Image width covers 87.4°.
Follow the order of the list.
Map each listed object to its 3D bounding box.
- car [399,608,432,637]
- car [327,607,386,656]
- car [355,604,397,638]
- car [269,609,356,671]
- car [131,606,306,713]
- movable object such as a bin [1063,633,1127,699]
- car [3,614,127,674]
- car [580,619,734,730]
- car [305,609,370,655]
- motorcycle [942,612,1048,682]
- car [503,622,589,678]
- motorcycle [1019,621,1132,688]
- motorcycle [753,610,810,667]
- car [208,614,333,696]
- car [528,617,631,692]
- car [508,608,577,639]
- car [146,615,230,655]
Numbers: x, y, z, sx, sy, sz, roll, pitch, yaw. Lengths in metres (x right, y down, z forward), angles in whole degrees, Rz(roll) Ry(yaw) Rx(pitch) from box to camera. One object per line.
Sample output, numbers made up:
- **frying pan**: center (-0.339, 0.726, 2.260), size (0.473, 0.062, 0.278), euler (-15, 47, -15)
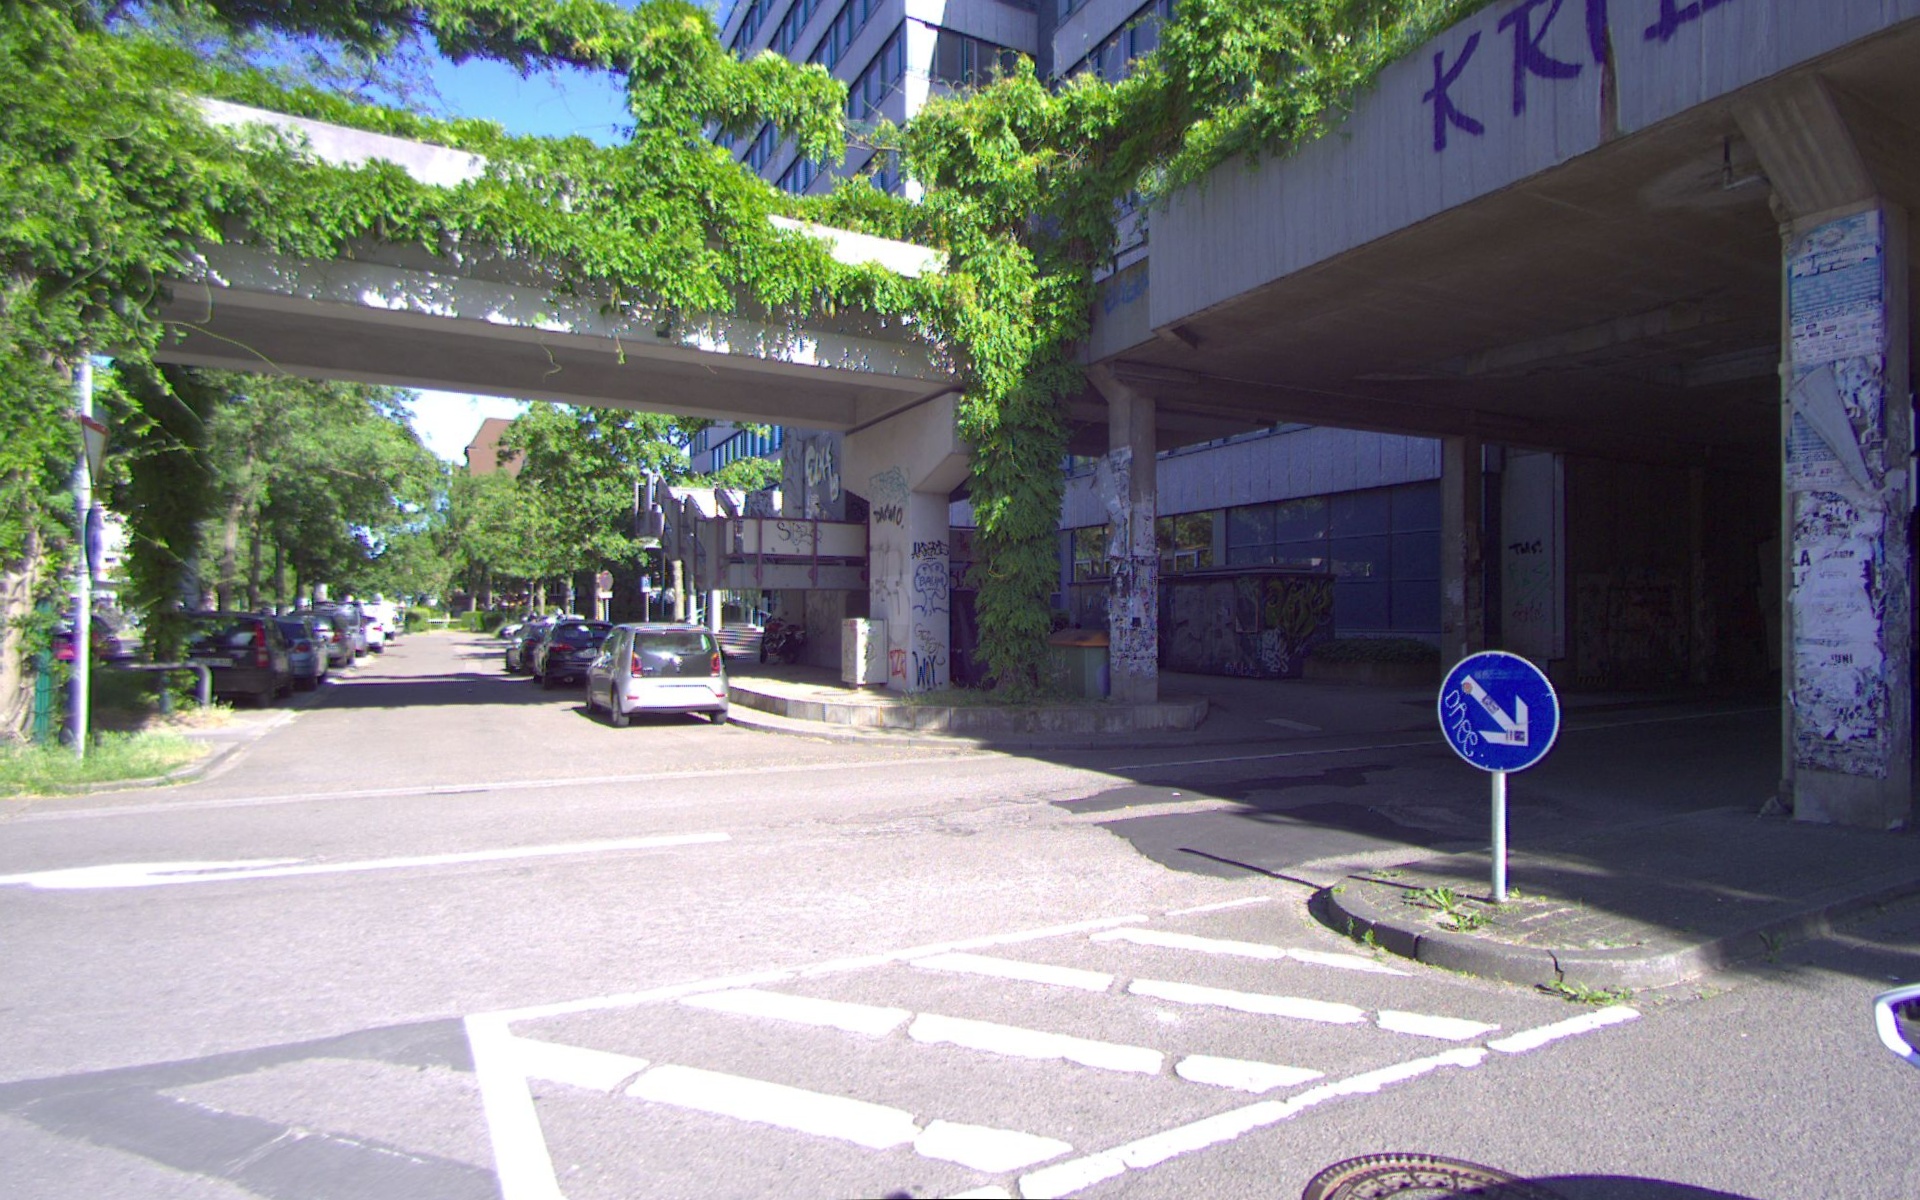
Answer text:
- **car**: center (-39.630, 1.635, 73.184), size (1.974, 2.040, 4.266), euler (0, -1, -27)
- **car**: center (-24.781, 1.265, 41.361), size (1.976, 1.908, 4.205), euler (0, -1, -29)
- **car**: center (-34.709, 1.251, 59.800), size (2.046, 1.934, 4.491), euler (0, -1, -29)
- **car**: center (-18.730, 1.109, 29.212), size (1.756, 1.668, 4.054), euler (0, -1, -28)
- **car**: center (-12.163, 0.932, 16.724), size (1.724, 1.558, 3.752), euler (3, -2, -28)
- **movable object such as a bin**: center (1.958, 0.943, 14.628), size (0.633, 0.917, 0.713), euler (0, -1, -30)
- **car**: center (-23.402, 1.105, 26.398), size (1.636, 1.447, 3.481), euler (1, -1, -28)
- **car**: center (-4.801, 1.052, 15.613), size (1.591, 1.506, 3.621), euler (1, -1, -29)
- **car**: center (-22.273, 1.105, 36.048), size (1.714, 1.569, 4.416), euler (0, -1, -28)
- **motorcycle**: center (0.678, 0.868, 19.149), size (1.969, 1.281, 0.675), euler (0, -1, -30)
- **car**: center (-11.539, 1.331, 27.866), size (1.667, 1.422, 3.769), euler (1, -1, -31)
- **motorcycle**: center (2.044, 0.925, 17.625), size (2.126, 1.125, 0.523), euler (1, -1, -32)
- **motorcycle**: center (-4.222, 0.873, 23.633), size (0.723, 1.287, 2.038), euler (0, -1, -29)
- **car**: center (-14.020, 1.068, 20.628), size (1.638, 1.467, 4.249), euler (4, -3, -29)
- **car**: center (-8.759, 1.174, 22.919), size (1.716, 1.550, 3.971), euler (1, -1, -28)
- **car**: center (-26.276, 1.467, 63.270), size (3.943, 1.737, 1.696), euler (-2, 1, -24)
- **car**: center (-30.997, 1.371, 40.447), size (1.848, 1.478, 4.561), euler (1, -1, -27)
